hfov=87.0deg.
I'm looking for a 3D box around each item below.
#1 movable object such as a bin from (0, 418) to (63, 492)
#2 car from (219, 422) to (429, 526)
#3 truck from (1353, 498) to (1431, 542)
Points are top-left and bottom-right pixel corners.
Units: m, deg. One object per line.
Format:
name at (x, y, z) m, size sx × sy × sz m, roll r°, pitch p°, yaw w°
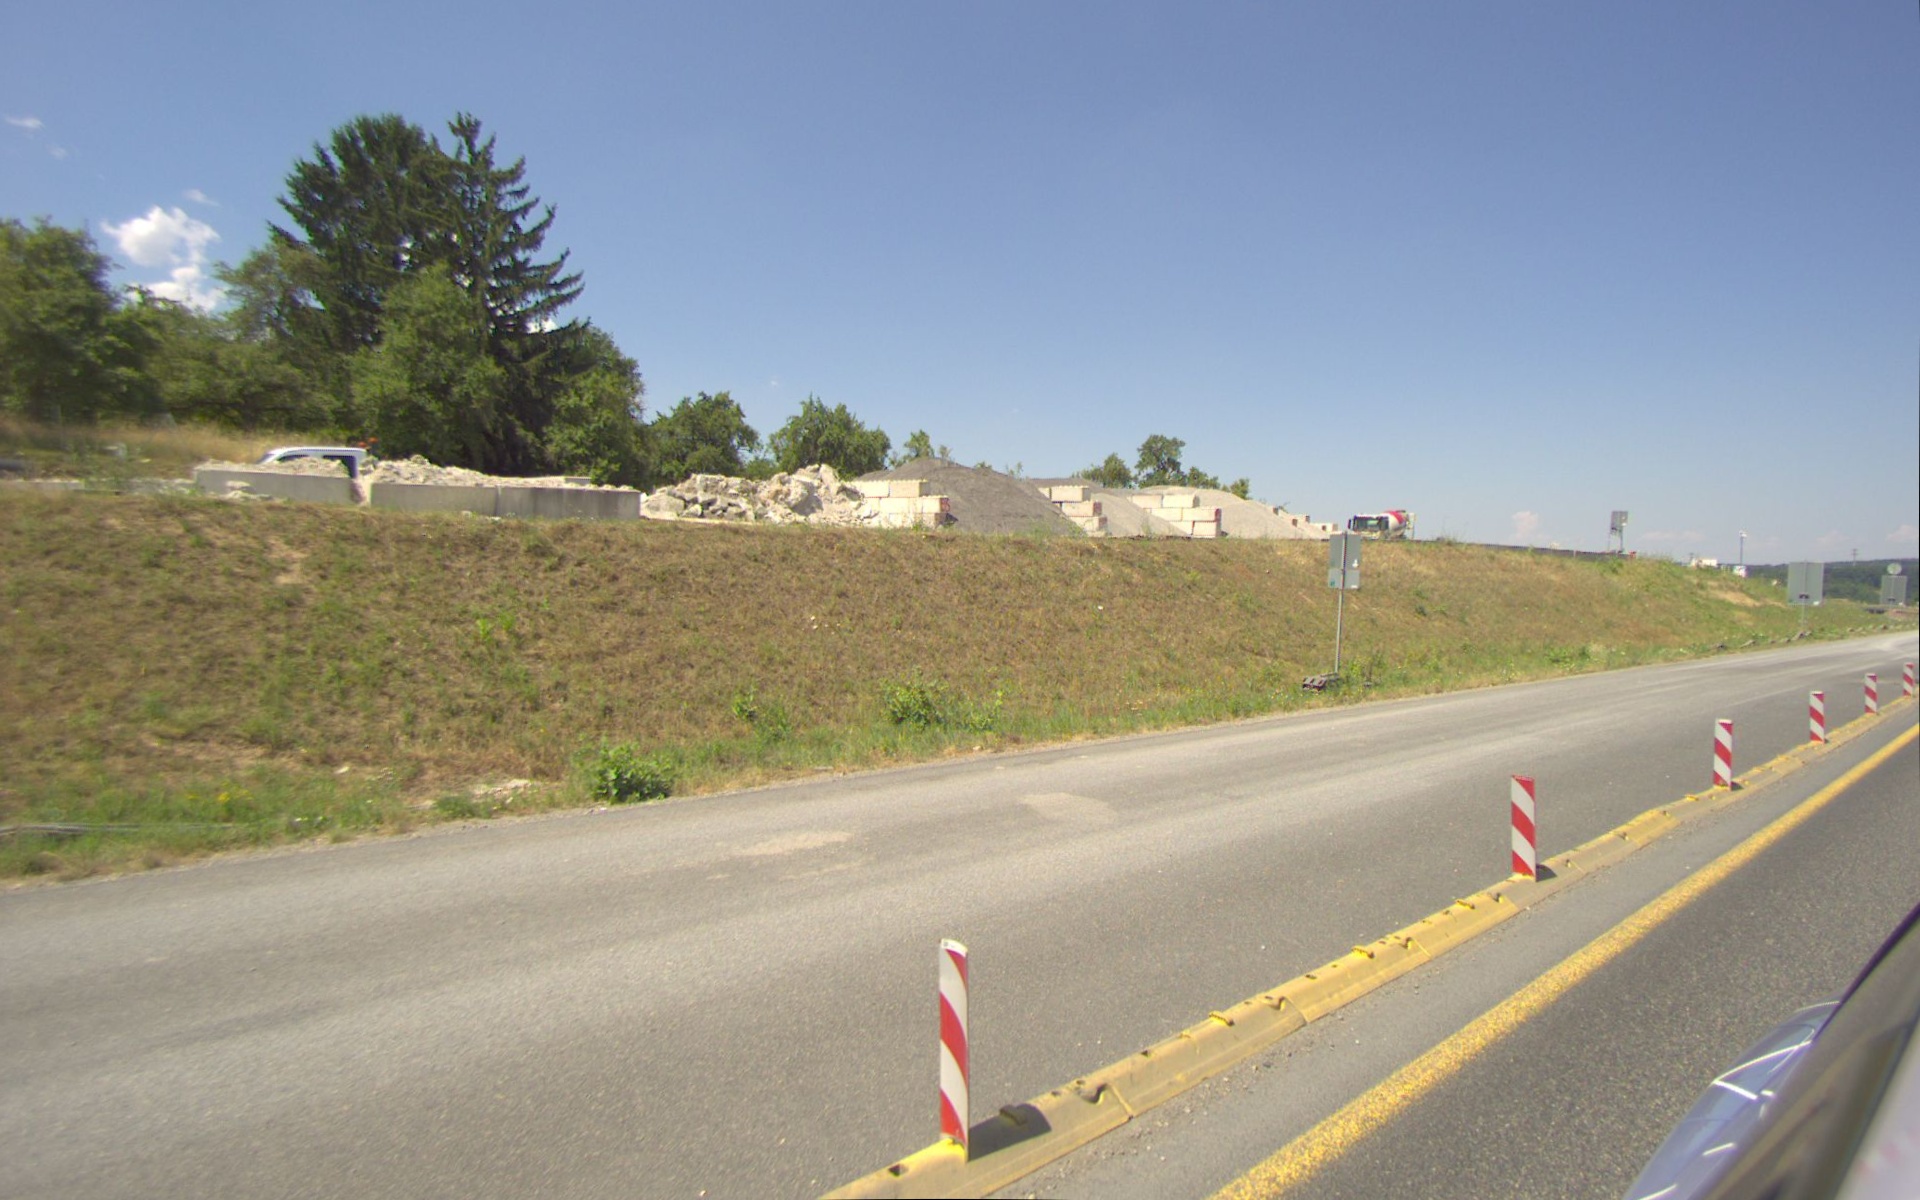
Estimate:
movable object such as a bin at (-11.005, -1.594, 10.730) m, size 2.210 × 0.690 × 0.837 m, roll -1°, pitch 0°, yaw -41°
car at (-13.522, -2.585, 21.583) m, size 3.539 × 1.785 × 1.989 m, roll -1°, pitch 0°, yaw -41°
truck at (33.030, -6.006, 77.222) m, size 8.915 × 2.855 × 2.218 m, roll -1°, pitch 0°, yaw -44°
